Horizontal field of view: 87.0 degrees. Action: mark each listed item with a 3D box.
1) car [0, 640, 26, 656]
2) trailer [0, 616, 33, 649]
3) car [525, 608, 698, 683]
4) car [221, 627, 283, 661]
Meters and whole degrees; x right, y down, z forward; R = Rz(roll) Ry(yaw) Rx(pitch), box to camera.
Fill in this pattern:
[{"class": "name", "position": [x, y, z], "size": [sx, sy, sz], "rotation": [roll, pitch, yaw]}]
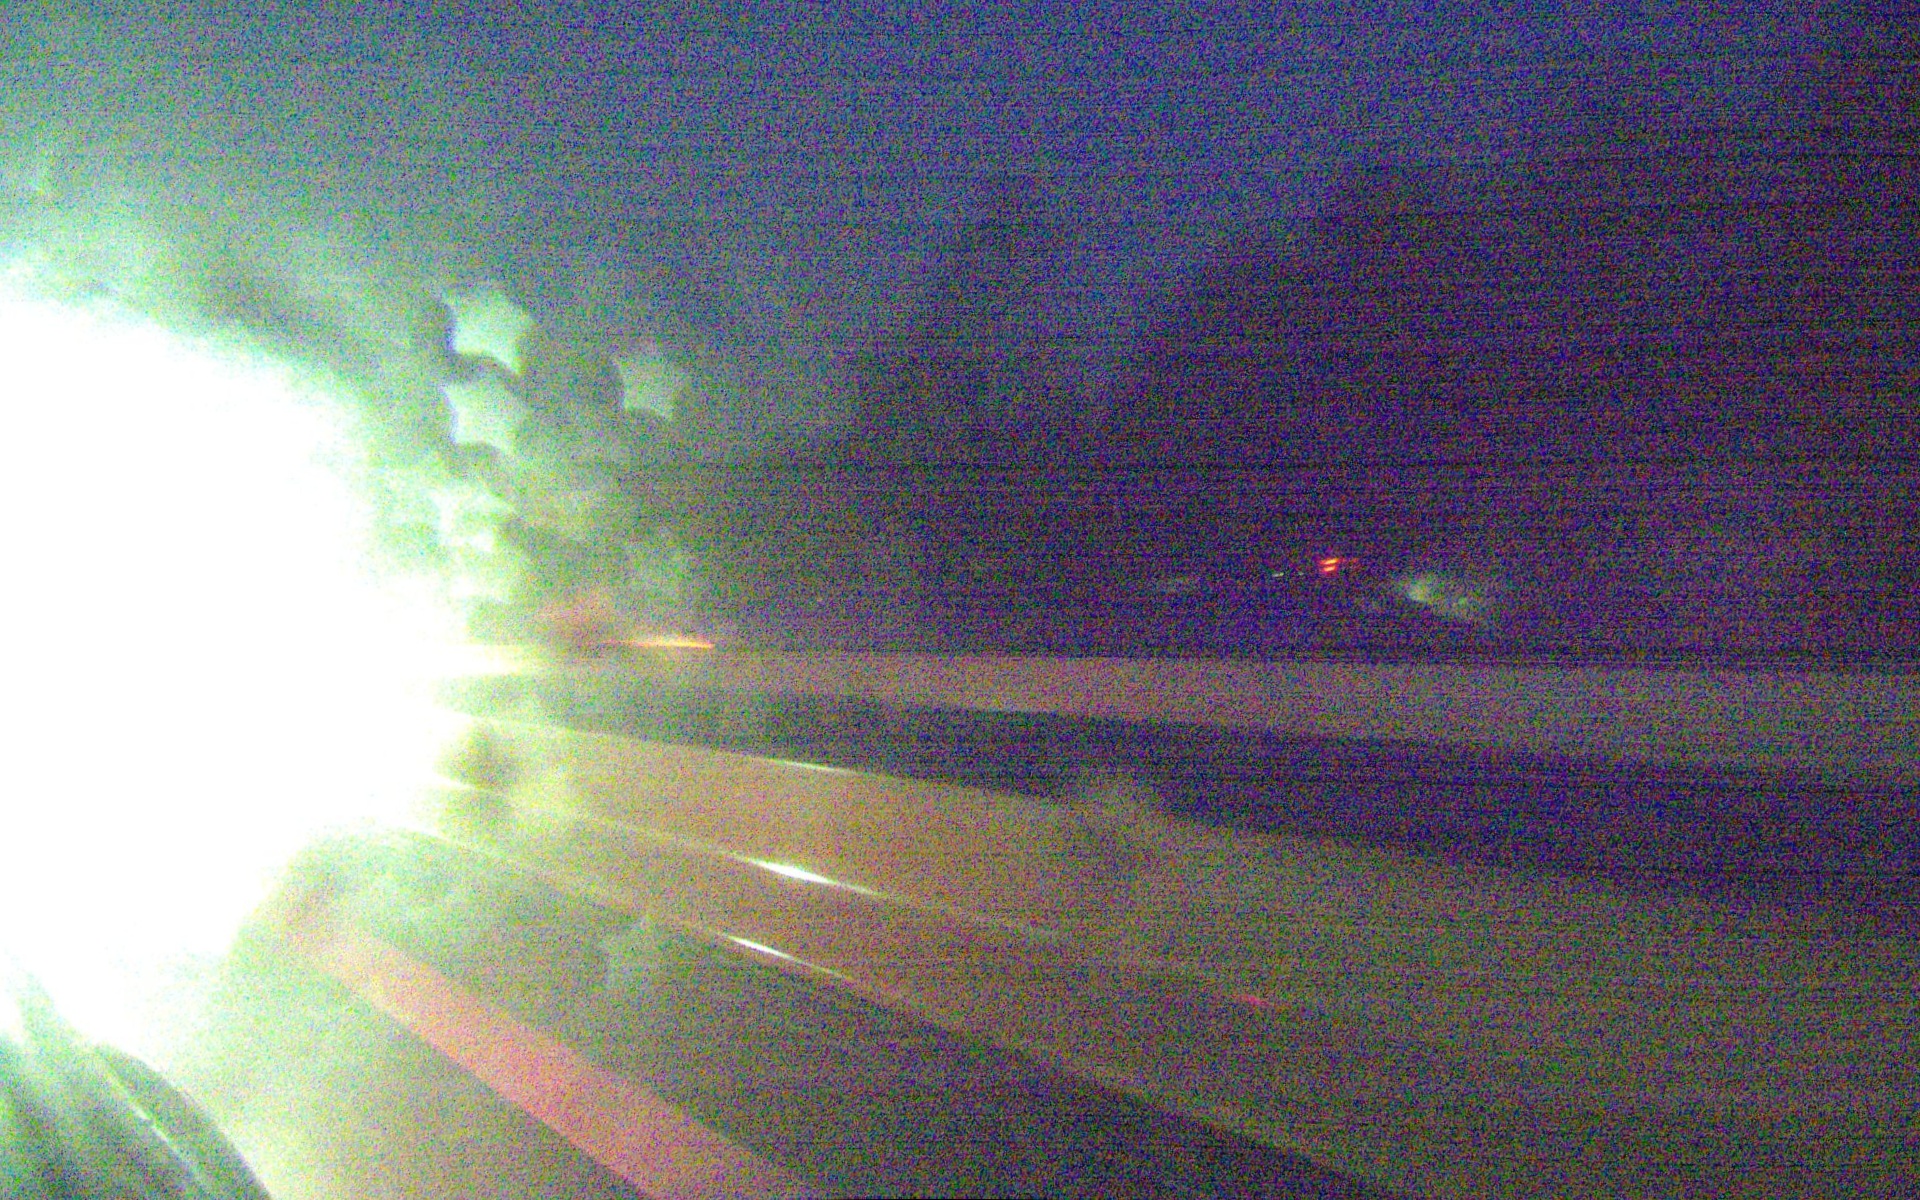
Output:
[{"class": "car", "position": [-110.704, 5.592, 118.222], "size": [4.670, 1.537, 1.972], "rotation": [-2, 2, 43]}, {"class": "trailer", "position": [-139.904, 4.774, 149.750], "size": [13.719, 4.578, 2.595], "rotation": [-2, 2, 42]}, {"class": "car", "position": [-7.827, 0.972, 22.538], "size": [4.288, 1.417, 1.785], "rotation": [-2, 2, 43]}, {"class": "car", "position": [-41.005, 2.508, 58.587], "size": [4.287, 1.732, 1.973], "rotation": [-2, 2, 42]}]
